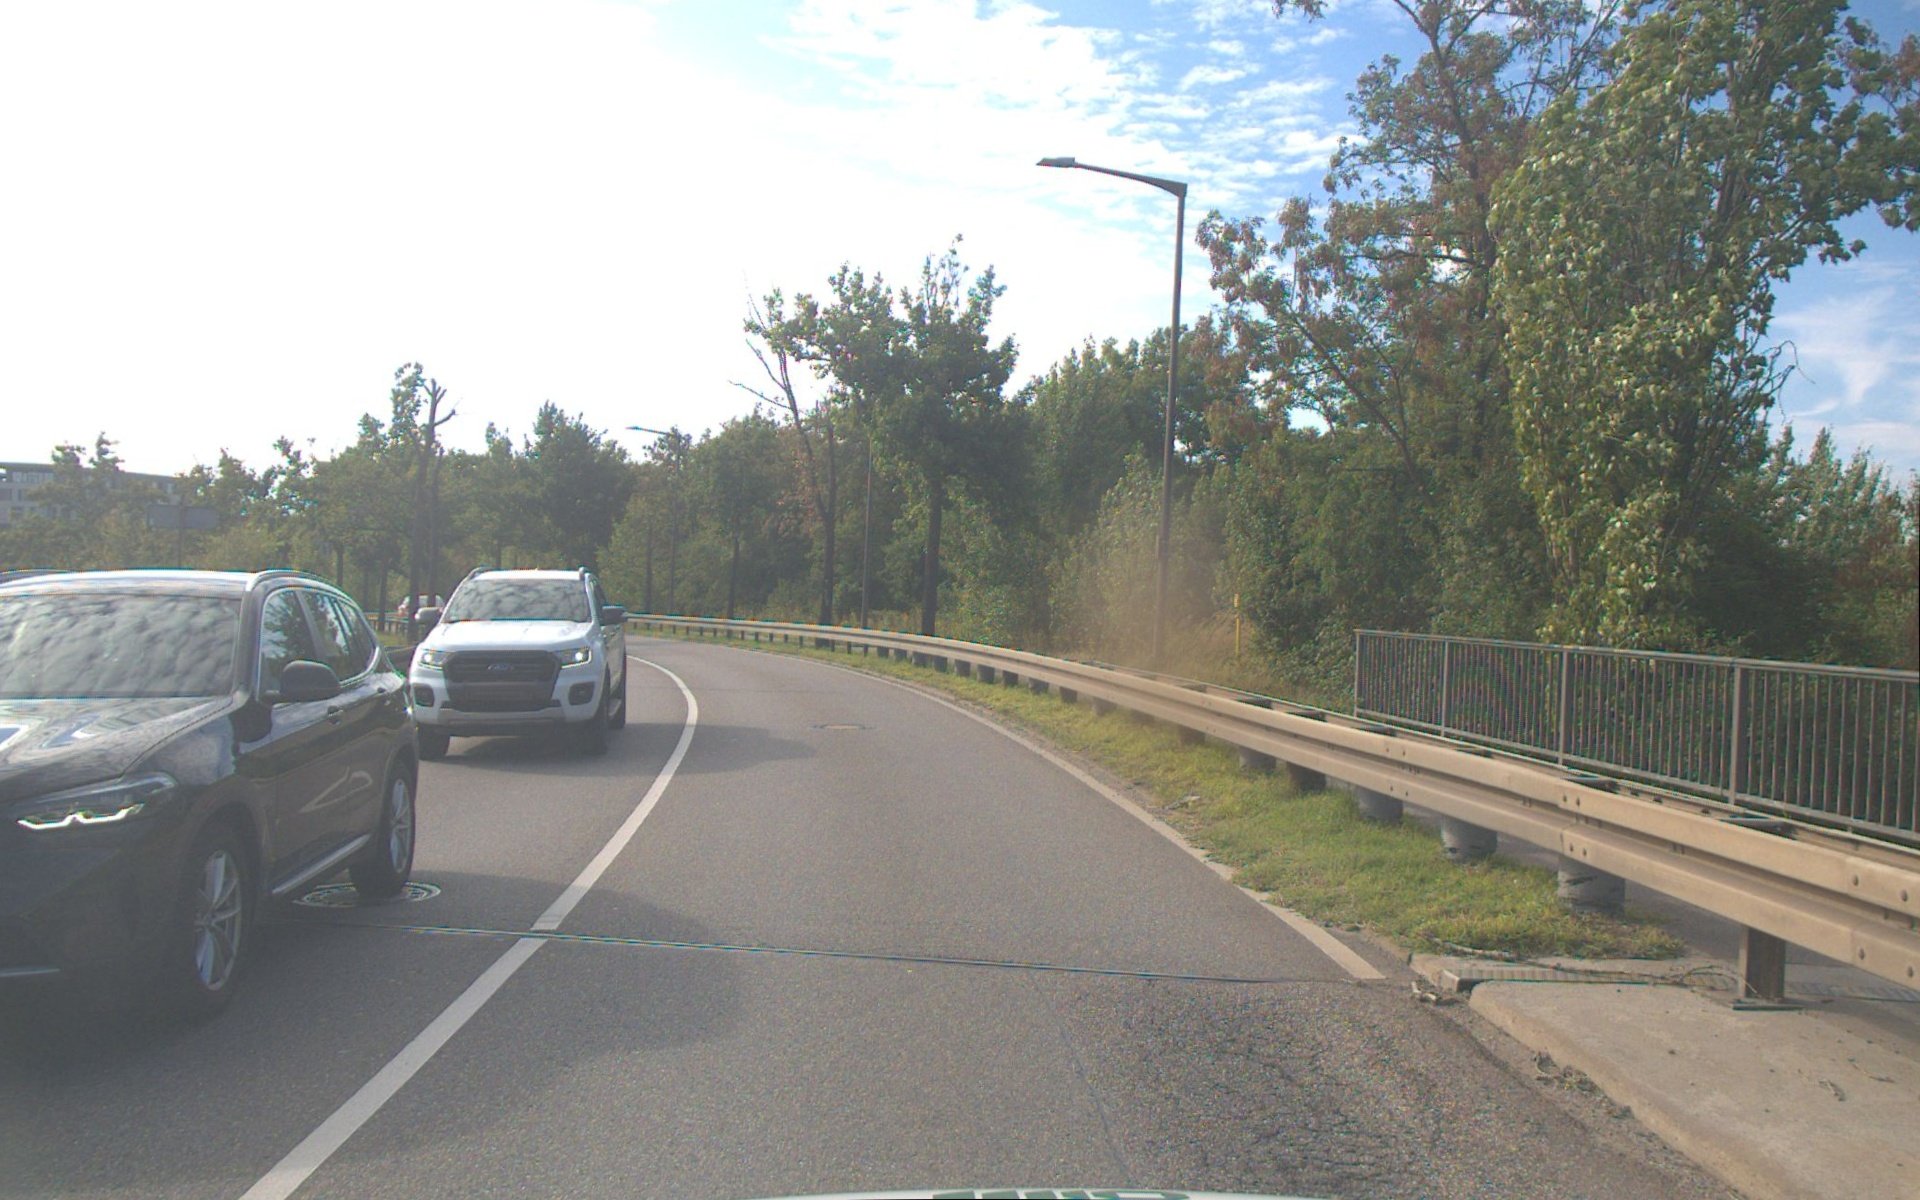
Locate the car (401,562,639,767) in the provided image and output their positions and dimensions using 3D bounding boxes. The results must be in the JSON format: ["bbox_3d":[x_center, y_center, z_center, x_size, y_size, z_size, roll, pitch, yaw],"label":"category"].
[{"bbox_3d":[-4.528,0.582,17.788,1.865,1.842,5.393,-1,0,-9],"label":"car"}]

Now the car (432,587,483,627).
[{"bbox_3d":[-22.213,0.283,73.006,1.784,1.703,4.267,0,0,-23],"label":"car"}]

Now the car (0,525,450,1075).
[{"bbox_3d":[-3.645,0.640,7.308,1.853,1.678,4.634,-1,0,-7],"label":"car"}]
